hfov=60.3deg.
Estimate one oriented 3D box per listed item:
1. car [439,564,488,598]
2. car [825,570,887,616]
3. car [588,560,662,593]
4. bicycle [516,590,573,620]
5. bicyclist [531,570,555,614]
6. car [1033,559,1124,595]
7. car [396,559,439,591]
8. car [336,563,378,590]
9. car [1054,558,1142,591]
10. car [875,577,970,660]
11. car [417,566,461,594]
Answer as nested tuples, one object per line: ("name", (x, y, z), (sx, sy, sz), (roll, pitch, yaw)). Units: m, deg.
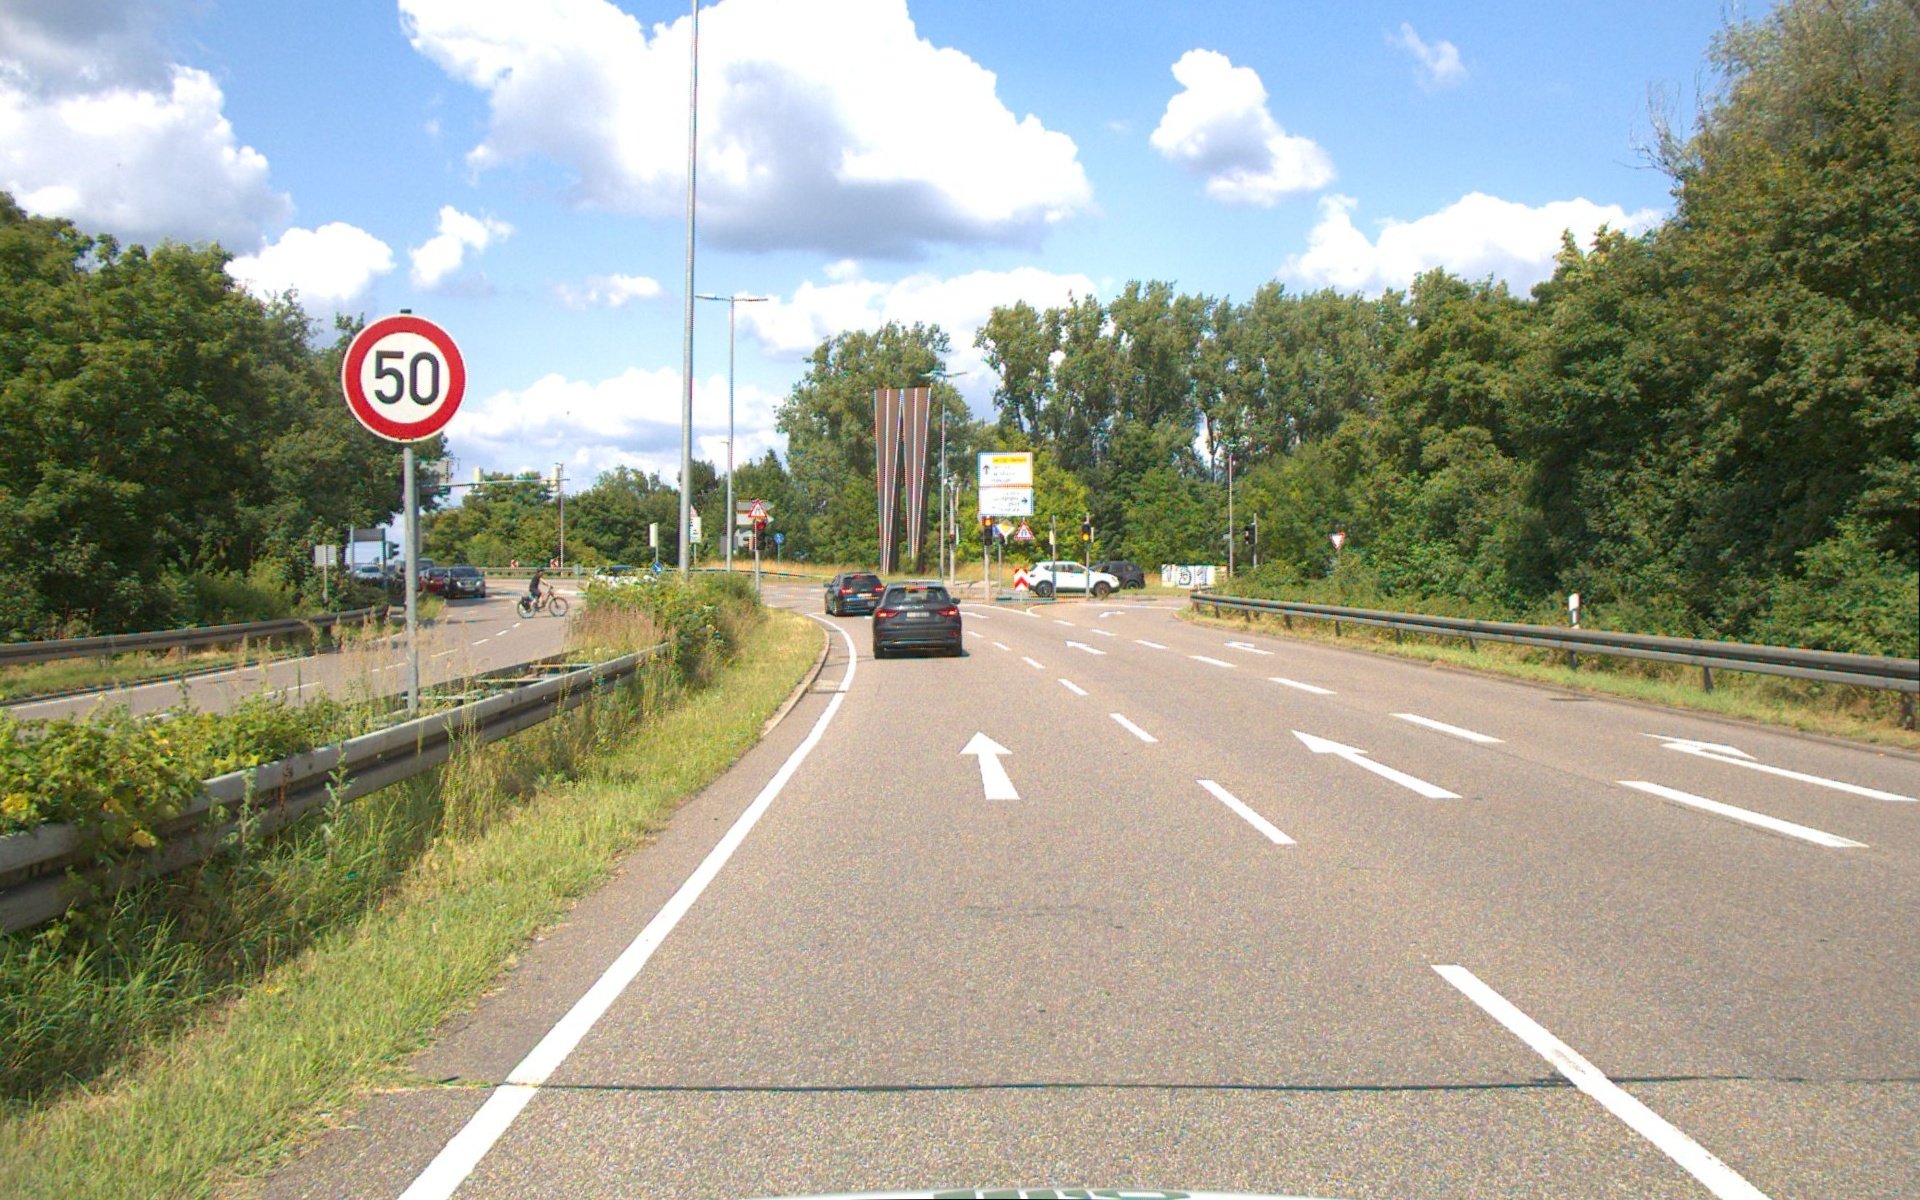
("car", (-25.853, -0.977, 86.050), (1.817, 1.646, 3.965), (-2, 0, -27))
("car", (-3.689, -0.271, 58.005), (1.695, 1.448, 3.835), (-3, 2, -10))
("car", (-16.222, -1.126, 79.937), (1.723, 1.502, 3.984), (0, 1, -43))
("bicycle", (-15.324, 0.174, 60.990), (2.020, 1.041, 0.669), (-1, 1, -17))
("bicyclist", (-15.367, -0.301, 60.973), (0.821, 1.587, 0.669), (-1, 1, -17))
("car", (5.346, -1.032, 74.891), (3.943, 1.535, 1.956), (1, 0, -2))
("car", (-32.568, -1.495, 99.216), (1.821, 1.833, 4.289), (-1, 1, -27))
("car", (-40.991, -1.610, 112.374), (1.825, 1.735, 4.280), (-2, 2, -32))
("car", (7.017, -1.291, 83.998), (4.187, 1.572, 1.734), (-1, 1, -7))
("car", (-0.794, 0.311, 32.760), (1.692, 1.428, 3.998), (-2, 2, -4))
("car", (-29.392, -1.147, 93.233), (1.711, 1.502, 4.011), (-1, 1, -27))
